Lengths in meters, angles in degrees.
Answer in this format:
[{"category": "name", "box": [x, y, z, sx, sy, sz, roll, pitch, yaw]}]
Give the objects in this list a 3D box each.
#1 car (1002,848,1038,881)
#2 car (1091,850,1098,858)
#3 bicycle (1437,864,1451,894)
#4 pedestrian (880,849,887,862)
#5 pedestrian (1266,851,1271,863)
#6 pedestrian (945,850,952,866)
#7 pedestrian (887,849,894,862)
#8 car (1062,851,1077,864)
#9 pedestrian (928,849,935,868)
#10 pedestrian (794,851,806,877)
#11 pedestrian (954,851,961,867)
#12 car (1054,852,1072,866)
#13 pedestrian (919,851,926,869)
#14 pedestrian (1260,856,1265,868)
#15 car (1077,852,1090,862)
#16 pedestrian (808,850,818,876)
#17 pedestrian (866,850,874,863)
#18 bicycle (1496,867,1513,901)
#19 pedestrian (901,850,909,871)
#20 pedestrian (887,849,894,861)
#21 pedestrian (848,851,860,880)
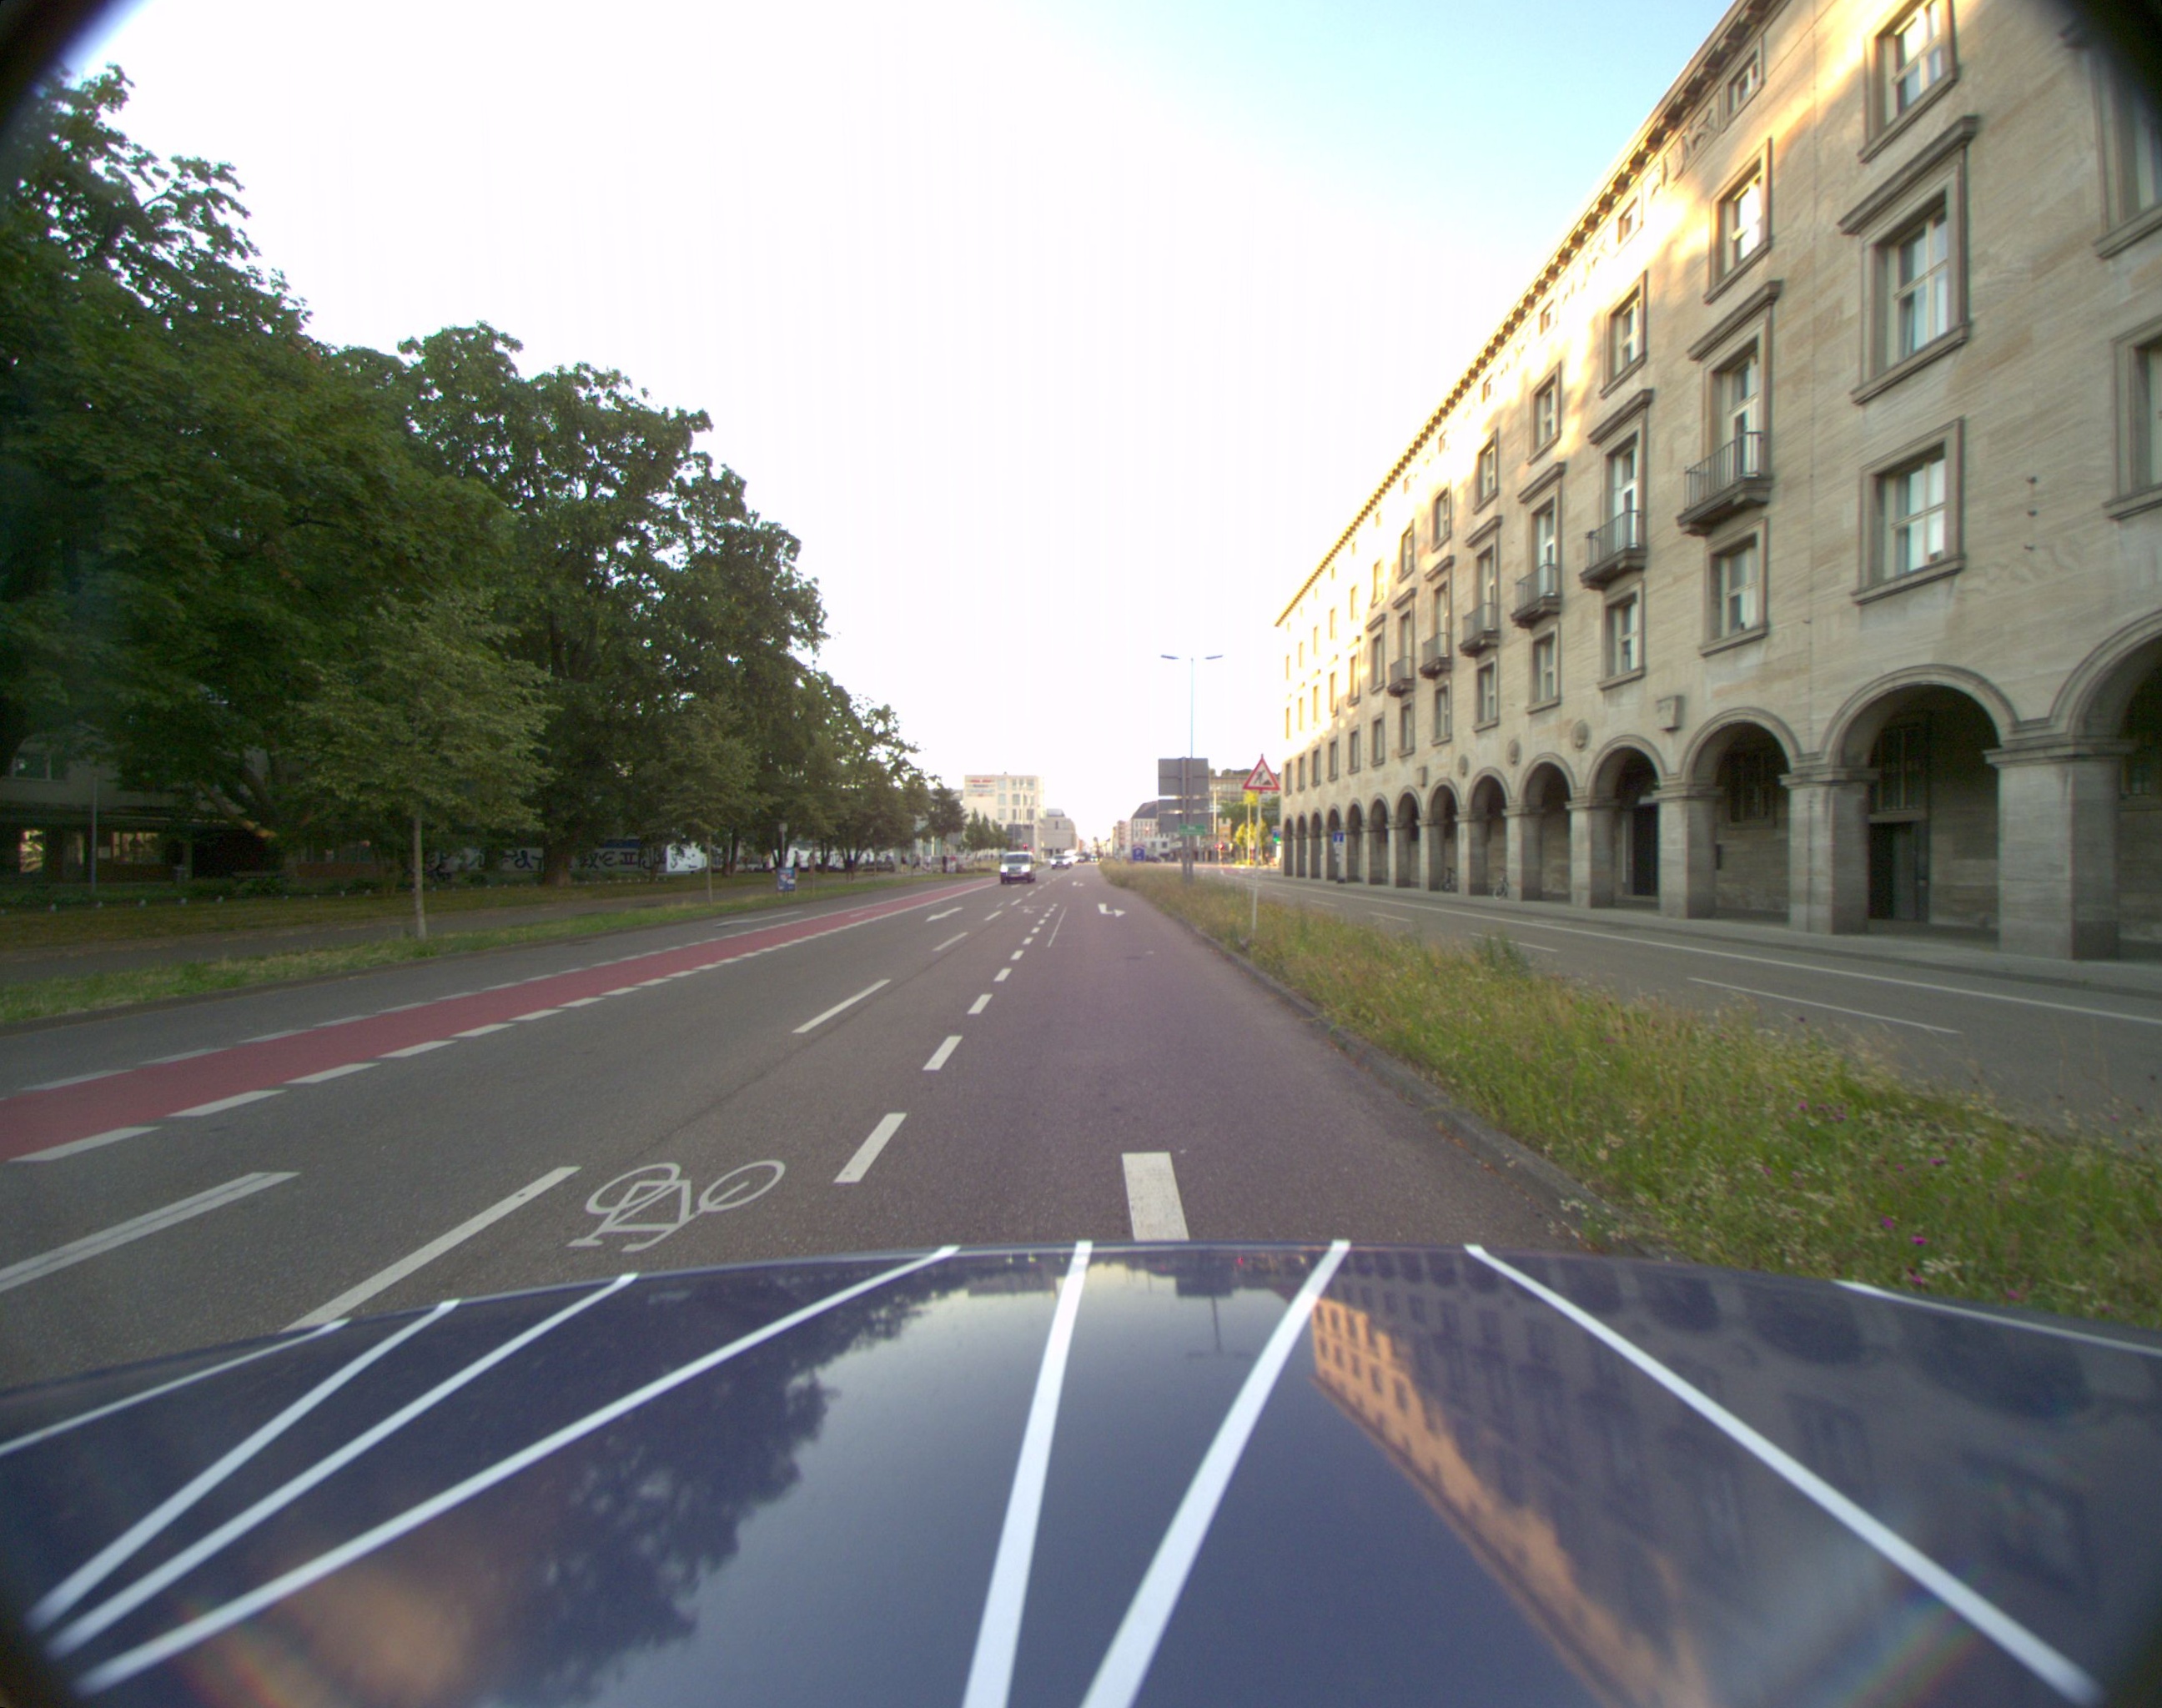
[{"category": "car", "box": [-3.588, 0.612, 45.391, 1.767, 1.877, 4.499, 0, 0, 0]}, {"category": "car", "box": [4.237, 0.054, 239.379, 1.998, 2.297, 5.089, 0, 0, 0]}, {"category": "bicycle", "box": [15.386, 1.040, 32.235, 0.513, 1.172, 2.427, 0, 0, 25]}, {"category": "pedestrian", "box": [-21.813, 0.167, 83.917, 0.662, 1.347, 0.559, 0, 1, 1]}, {"category": "pedestrian", "box": [25.636, 0.404, 103.823, 0.526, 1.532, 0.390, 0, 1, 1]}, {"category": "pedestrian", "box": [-14.398, 0.400, 82.598, 0.638, 1.747, 0.506, 0, 1, 1]}, {"category": "pedestrian", "box": [-21.013, 0.156, 83.891, 0.519, 1.347, 0.773, 0, 1, 1]}, {"category": "car", "box": [-1.475, 0.425, 100.417, 1.782, 1.617, 4.215, -1, 0, 1]}, {"category": "pedestrian", "box": [-13.840, 0.401, 70.214, 0.509, 1.720, 0.719, 0, 1, 1]}, {"category": "pedestrian", "box": [-16.800, 0.594, 45.400, 0.500, 1.592, 0.522, 0, 1, 1]}, {"category": "pedestrian", "box": [-13.456, 0.533, 82.623, 0.638, 1.747, 0.506, 0, 1, 1]}, {"category": "car", "box": [-2.033, 0.535, 86.025, 1.826, 1.612, 4.336, 0, 0, 0]}, {"category": "pedestrian", "box": [-14.679, 0.538, 70.417, 0.519, 1.720, 0.719, 0, 1, 1]}, {"category": "pedestrian", "box": [24.790, 1.089, 103.769, 0.638, 1.747, 0.506, 0, 1, 1]}, {"category": "car", "box": [0.453, 0.505, 125.521, 1.783, 1.676, 4.213, 0, 0, -5]}, {"category": "pedestrian", "box": [-16.430, 0.530, 46.550, 0.500, 1.592, 0.365, 0, 1, 1]}, {"category": "pedestrian", "box": [-23.215, 0.269, 83.489, 0.728, 1.347, 0.614, 0, 1, 1]}, {"category": "bicycle", "box": [15.347, 1.052, 27.512, 0.513, 1.115, 2.427, 0, 1, 30]}, {"category": "pedestrian", "box": [-15.035, 0.547, 65.002, 0.509, 1.720, 0.719, 0, 1, 1]}, {"category": "pedestrian", "box": [-21.321, 0.149, 85.038, 0.654, 1.347, 0.505, 0, 1, 1]}, {"category": "pedestrian", "box": [-13.647, 0.696, 45.645, 0.558, 1.729, 0.555, 0, 1, 1]}]
